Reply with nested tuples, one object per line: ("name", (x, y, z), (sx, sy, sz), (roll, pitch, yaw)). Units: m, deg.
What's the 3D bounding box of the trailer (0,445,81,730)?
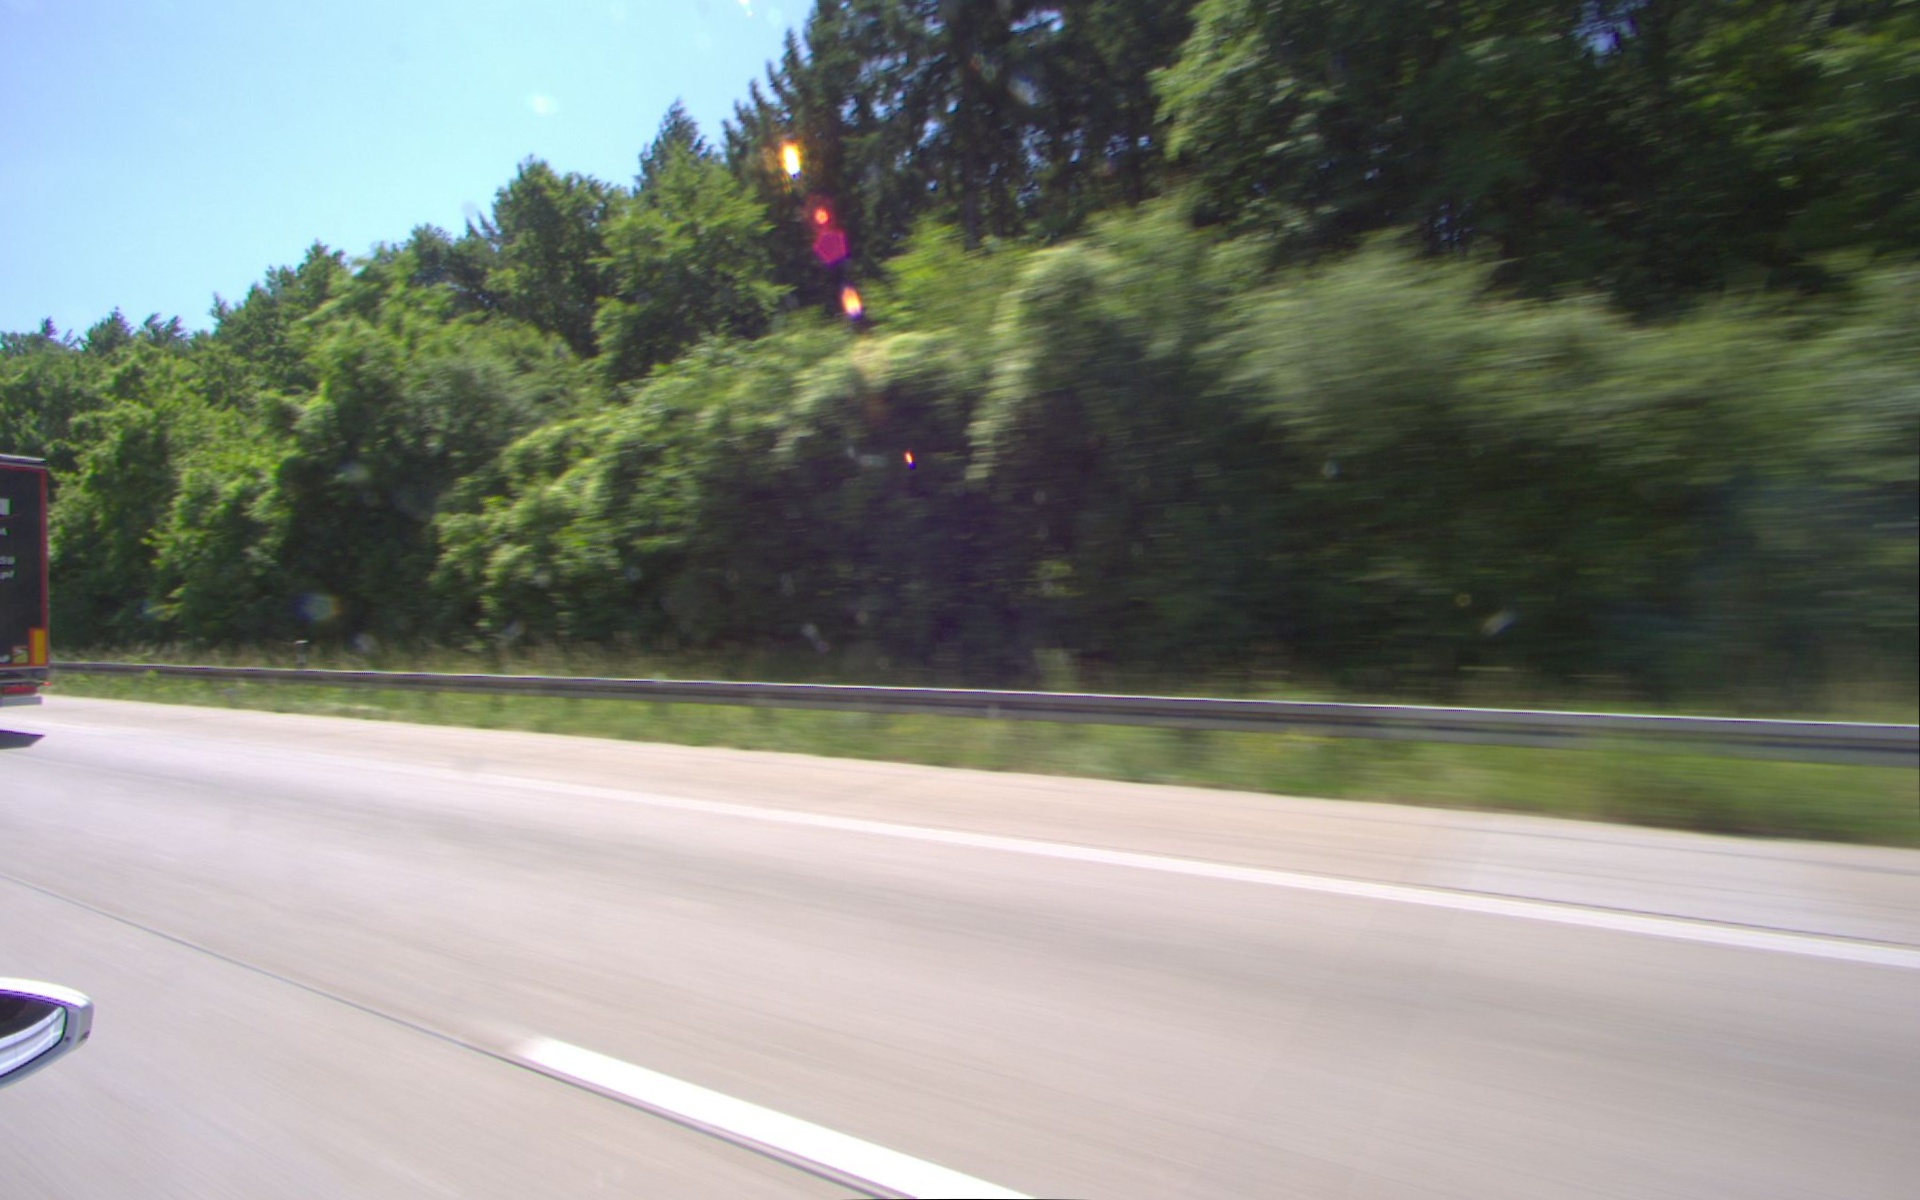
("trailer", (-17.814, -0.092, 16.202), (8.961, 4.068, 3.128), (-1, -2, 33))
